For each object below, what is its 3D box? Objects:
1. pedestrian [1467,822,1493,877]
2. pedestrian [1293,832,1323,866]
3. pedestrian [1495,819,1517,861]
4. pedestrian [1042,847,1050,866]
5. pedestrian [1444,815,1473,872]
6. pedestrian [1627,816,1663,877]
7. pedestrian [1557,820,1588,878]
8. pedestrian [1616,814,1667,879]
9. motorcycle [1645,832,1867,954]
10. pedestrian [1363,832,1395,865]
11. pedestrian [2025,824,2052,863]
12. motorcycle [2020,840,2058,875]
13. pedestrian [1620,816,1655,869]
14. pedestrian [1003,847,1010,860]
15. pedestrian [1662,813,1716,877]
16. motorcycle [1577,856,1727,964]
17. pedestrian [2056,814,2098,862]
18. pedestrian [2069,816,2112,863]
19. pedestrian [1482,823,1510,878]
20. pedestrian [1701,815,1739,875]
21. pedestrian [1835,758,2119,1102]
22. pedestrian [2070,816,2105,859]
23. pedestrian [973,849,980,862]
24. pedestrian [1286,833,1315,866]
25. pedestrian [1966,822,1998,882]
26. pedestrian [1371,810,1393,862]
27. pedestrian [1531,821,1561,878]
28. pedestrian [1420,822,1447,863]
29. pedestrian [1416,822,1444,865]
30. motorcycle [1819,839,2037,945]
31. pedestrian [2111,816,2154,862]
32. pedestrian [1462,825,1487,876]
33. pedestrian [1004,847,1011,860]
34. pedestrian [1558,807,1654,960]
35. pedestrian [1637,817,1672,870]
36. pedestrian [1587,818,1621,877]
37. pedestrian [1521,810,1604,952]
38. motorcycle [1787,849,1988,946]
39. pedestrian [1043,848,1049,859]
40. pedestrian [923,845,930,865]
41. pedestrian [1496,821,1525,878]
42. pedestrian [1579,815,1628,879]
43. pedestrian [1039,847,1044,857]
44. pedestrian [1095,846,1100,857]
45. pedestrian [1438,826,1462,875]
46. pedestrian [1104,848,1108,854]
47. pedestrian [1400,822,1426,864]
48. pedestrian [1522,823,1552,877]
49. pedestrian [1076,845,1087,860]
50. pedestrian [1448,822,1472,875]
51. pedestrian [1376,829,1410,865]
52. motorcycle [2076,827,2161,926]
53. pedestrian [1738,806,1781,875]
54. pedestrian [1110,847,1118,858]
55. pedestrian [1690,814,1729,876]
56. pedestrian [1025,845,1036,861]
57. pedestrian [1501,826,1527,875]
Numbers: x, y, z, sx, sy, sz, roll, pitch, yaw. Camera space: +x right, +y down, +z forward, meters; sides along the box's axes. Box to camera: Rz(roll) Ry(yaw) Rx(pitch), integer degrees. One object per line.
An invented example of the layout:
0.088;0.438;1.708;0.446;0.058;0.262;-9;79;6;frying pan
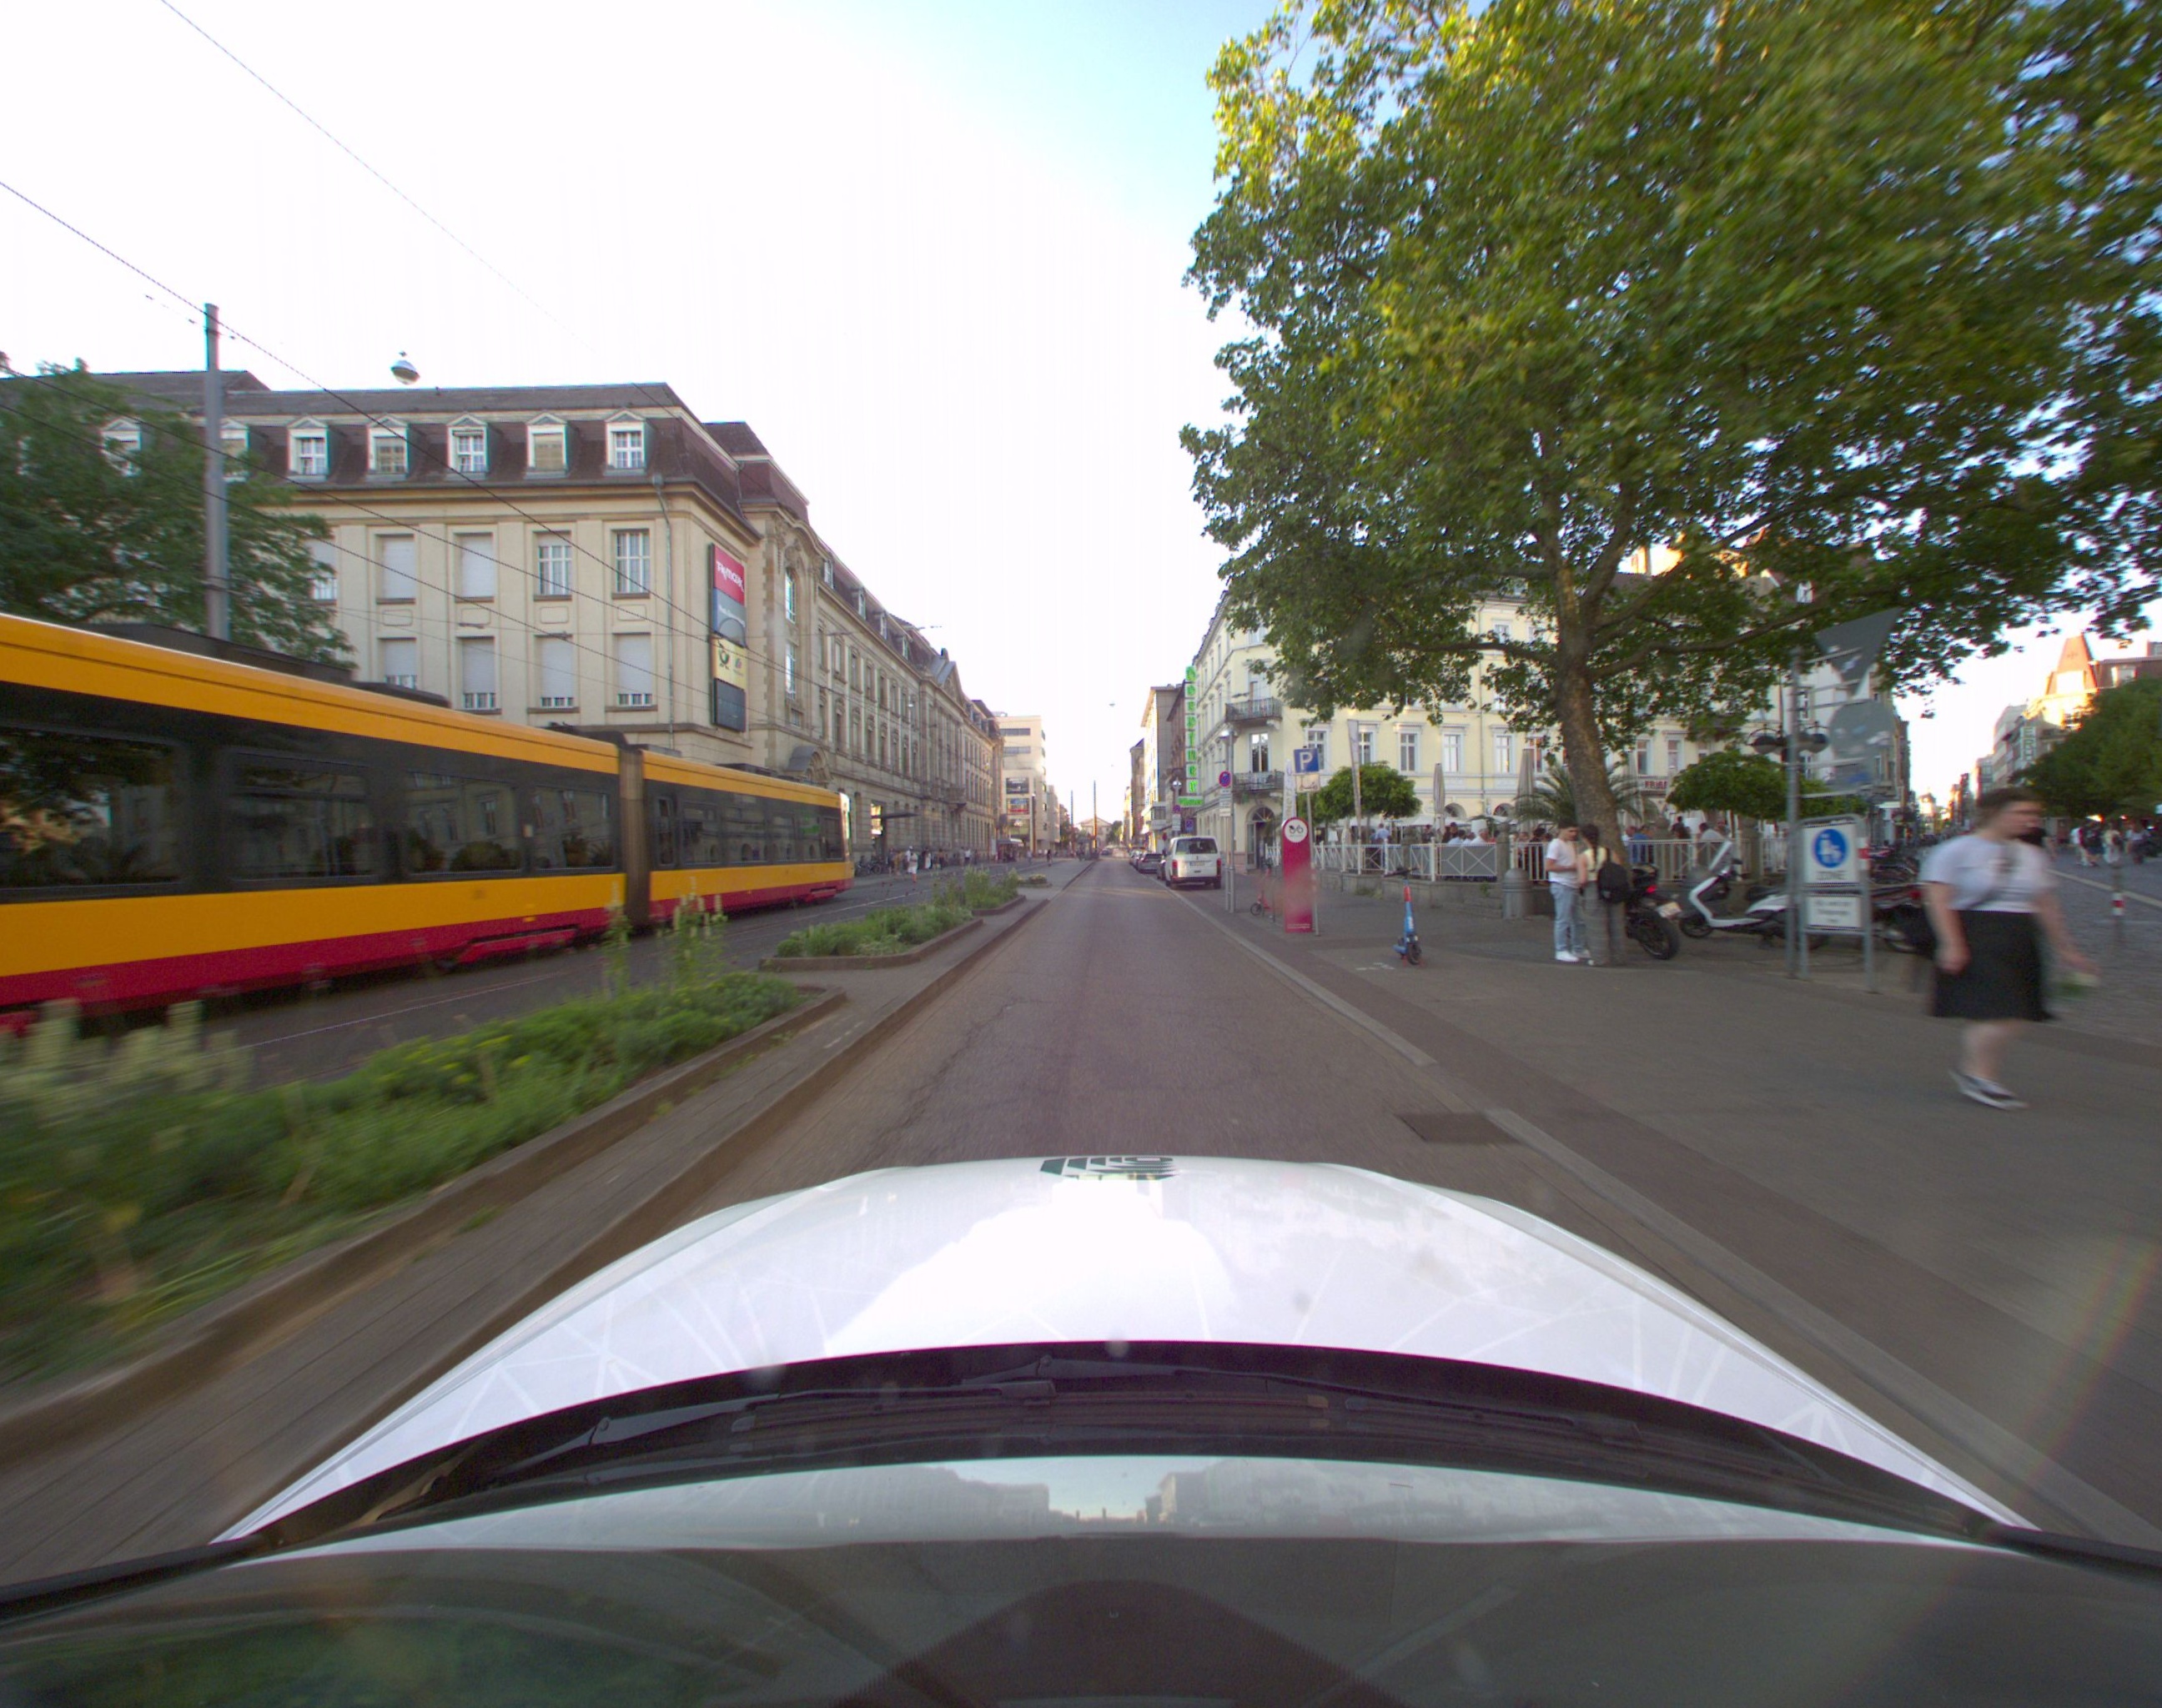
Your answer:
9.891;-0.096;20.197;0.470;1.330;0.542;-2;-2;16;pedestrian
8.873;-0.183;31.917;0.899;1.314;0.967;-1;-1;1;pedestrian
17.783;-0.589;34.074;0.513;1.712;0.572;0;-2;-30;pedestrian
-3.158;0.236;72.824;0.688;1.636;0.580;-1;2;-6;pedestrian
10.687;-0.287;23.095;0.614;1.571;0.633;-2;-2;16;pedestrian
12.248;-0.161;17.687;0.470;1.285;0.542;-2;-2;18;pedestrian
11.205;-0.109;18.566;0.473;1.285;0.528;-2;-2;19;pedestrian
11.447;-0.150;16.650;0.639;1.285;0.744;-2;-2;18;pedestrian
9.111;0.449;11.148;0.567;1.422;2.279;-1;3;-24;motorcycle
11.893;-0.198;32.513;0.960;1.267;0.906;-1;-1;1;pedestrian
46.633;-0.496;39.683;0.690;1.865;0.767;-3;-2;42;pedestrian
29.035;0.104;24.690;0.345;1.033;1.593;-2;-2;36;motorcycle
13.630;-0.277;19.946;0.535;1.285;0.477;-2;-2;12;pedestrian
-8.771;-0.080;96.312;0.777;1.580;0.676;-1;0;-10;pedestrian
12.477;-0.172;16.724;0.639;1.285;0.744;-2;-2;18;pedestrian
6.861;0.618;9.919;0.453;1.157;2.032;-1;0;2;motorcycle
41.853;-0.660;34.245;0.829;1.969;0.767;-2;-2;29;pedestrian
39.768;-0.552;32.092;0.666;1.832;0.764;-2;-2;11;pedestrian
9.976;-0.084;19.583;0.470;1.285;0.542;-2;-2;16;pedestrian
14.022;-0.197;17.879;0.470;1.285;0.542;-2;-2;18;pedestrian
5.121;0.403;4.722;0.710;1.803;0.825;-2;0;5;pedestrian
40.654;-0.650;32.890;0.604;1.700;0.596;-1;-2;11;pedestrian
-11.988;0.145;93.711;0.626;1.429;0.712;-1;0;8;pedestrian
8.891;-0.162;33.018;0.899;1.306;0.967;-1;-1;1;pedestrian
24.531;-0.046;22.173;0.606;1.611;0.531;0;-2;-41;pedestrian
13.570;-0.789;36.708;0.614;2.304;0.577;-1;-2;-20;pedestrian
10.819;-0.098;18.944;0.470;1.285;0.542;-2;-2;18;pedestrian
14.209;-0.456;32.811;0.754;1.643;0.659;-1;-2;2;pedestrian
13.591;-0.414;31.717;0.754;1.643;0.660;-1;-2;2;pedestrian
11.236;0.456;10.901;0.563;1.282;1.942;-1;0;-24;motorcycle
42.416;-0.573;32.861;0.741;1.810;0.767;-2;-2;27;pedestrian
10.033;-0.078;20.775;0.470;1.285;0.542;-2;-2;16;pedestrian
-8.640;-0.069;95.547;0.773;1.580;0.676;-1;0;-10;pedestrian
6.135;0.338;9.551;0.675;1.717;0.655;-1;-2;4;pedestrian
14.374;-0.251;20.406;0.535;1.285;0.477;-2;-2;12;pedestrian
11.638;-0.133;18.140;0.470;1.285;0.542;-2;-2;18;pedestrian
6.028;0.337;10.227;0.611;1.717;0.662;-1;-2;4;pedestrian
10.419;0.515;10.607;0.553;1.151;1.783;-1;0;-24;motorcycle
-5.988;-0.088;139.081;0.906;1.928;0.847;-1;0;-14;pedestrian
-12.778;0.101;67.272;0.517;1.672;0.480;-1;0;-14;pedestrian
9.990;-0.097;18.958;0.470;1.285;0.542;-2;-2;16;pedestrian
10.835;-0.126;16.910;0.639;1.285;0.744;-2;-2;18;pedestrian
-8.193;-0.427;169.695;0.845;1.928;0.909;-1;0;2;pedestrian
2.293;-0.352;111.746;0.611;1.523;0.619;-1;-2;-7;pedestrian
9.983;-0.093;22.044;0.470;1.305;0.542;-2;-2;16;pedestrian
6.518;-0.769;214.747;0.773;1.734;0.818;-3;-2;42;pedestrian
13.359;-0.430;32.803;0.754;1.643;0.660;-1;-2;2;pedestrian
10.955;-0.088;19.575;0.470;1.285;0.542;-2;-2;16;pedestrian
0.100;-0.190;95.135;1.041;1.686;0.911;-2;-2;13;pedestrian
9.964;-0.129;21.423;0.470;1.364;0.542;-2;-2;16;pedestrian
11.884;-0.248;31.047;0.960;1.336;0.906;-1;-1;1;pedestrian
14.358;0.289;10.473;0.565;1.282;1.936;-1;0;-35;motorcycle
14.084;-0.264;16.913;0.470;1.400;0.542;-2;-2;18;pedestrian
5.906;-0.270;146.287;1.231;1.928;1.017;-1;0;-14;pedestrian
13.324;-0.183;17.272;0.470;1.285;0.542;-2;-2;18;pedestrian
-5.239;-0.142;85.149;1.045;1.686;0.908;-1;0;1;pedestrian
11.319;-0.088;21.290;0.470;1.242;0.542;-2;-2;16;pedestrian
